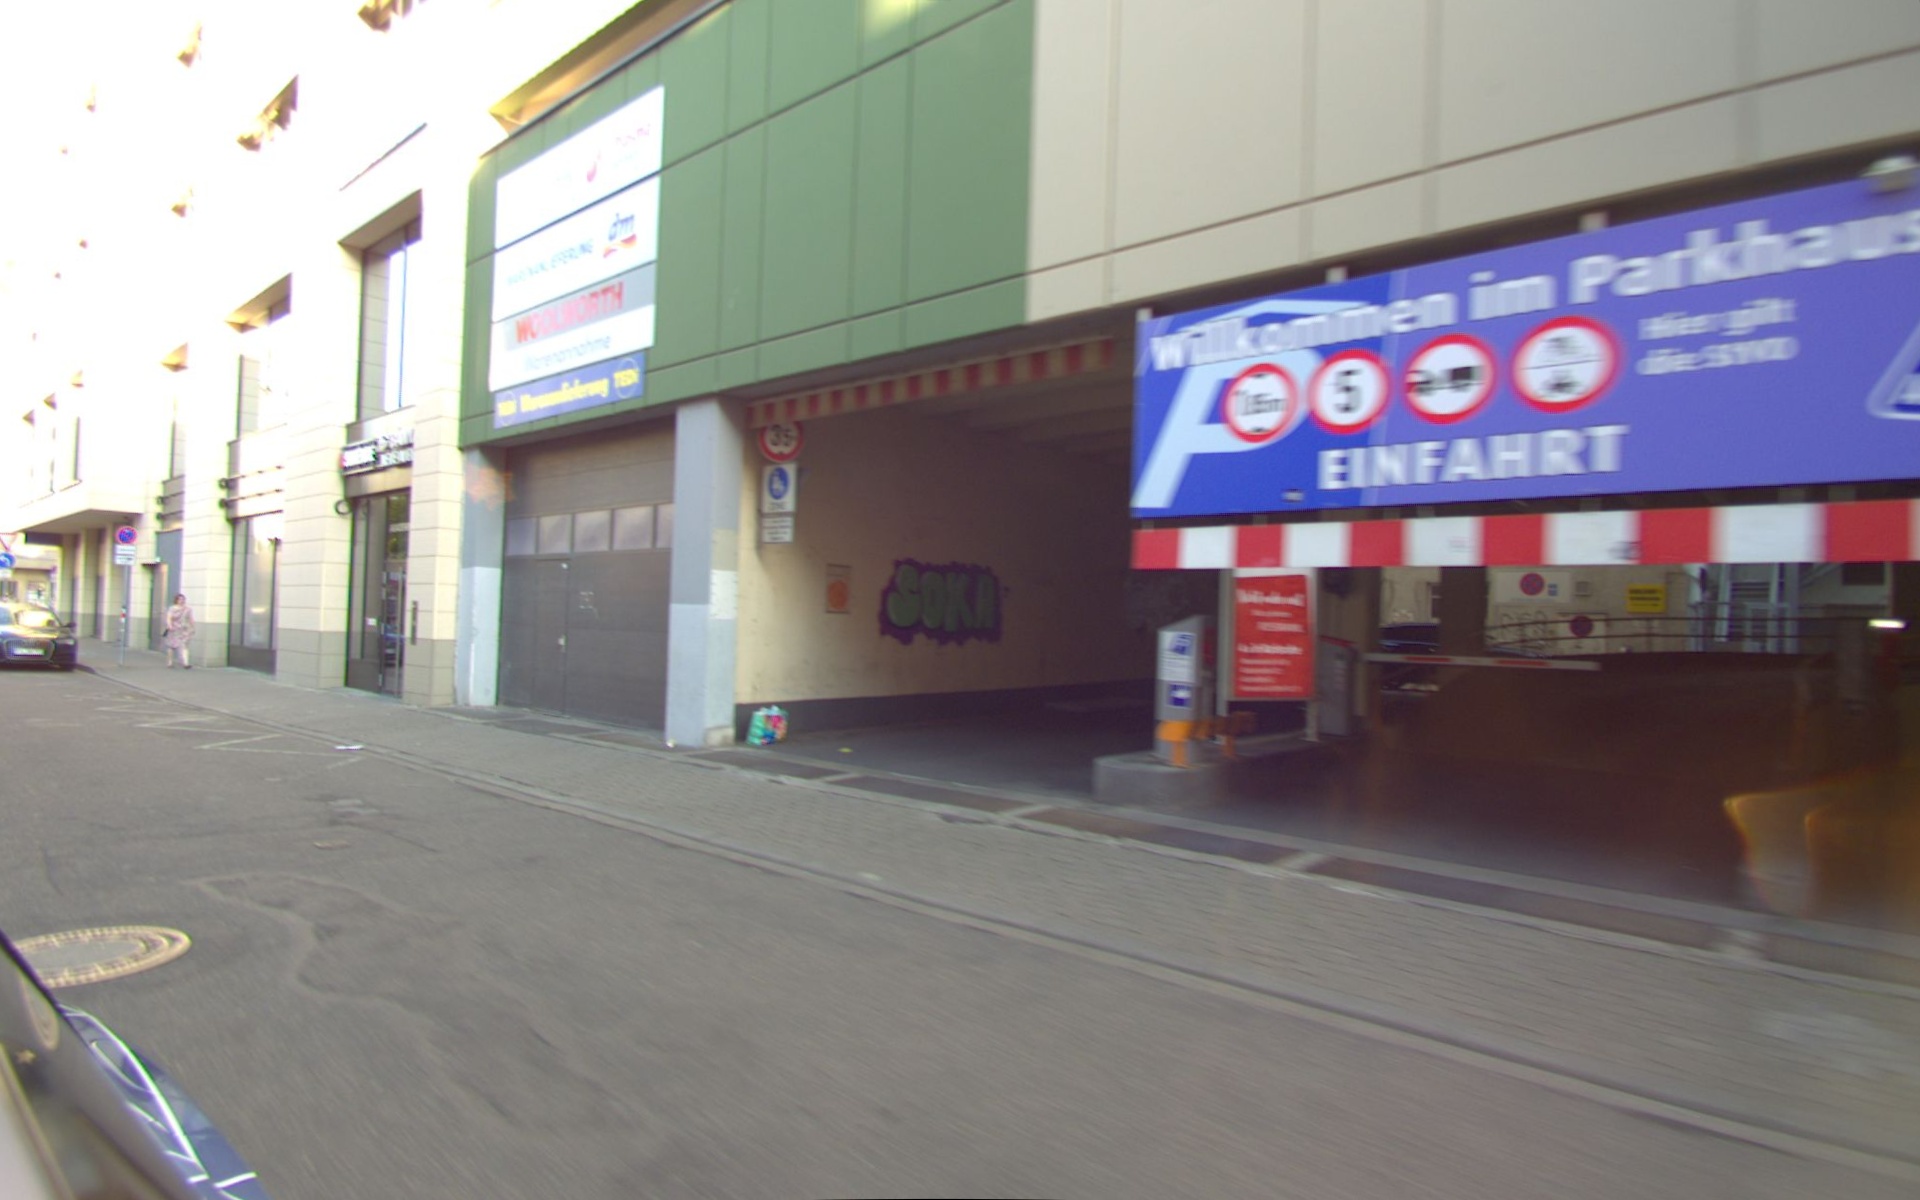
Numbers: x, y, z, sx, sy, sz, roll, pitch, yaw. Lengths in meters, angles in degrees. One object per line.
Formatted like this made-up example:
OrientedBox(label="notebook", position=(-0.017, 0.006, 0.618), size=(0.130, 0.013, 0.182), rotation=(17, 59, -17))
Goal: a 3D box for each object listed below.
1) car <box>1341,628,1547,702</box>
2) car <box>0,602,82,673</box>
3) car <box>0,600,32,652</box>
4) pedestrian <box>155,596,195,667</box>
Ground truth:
OrientedBox(label="car", position=(11.521, 1.492, 24.263), size=(4.204, 1.480, 1.610), rotation=(1, 0, 41))
OrientedBox(label="car", position=(-21.802, 0.808, 23.256), size=(4.560, 1.428, 1.971), rotation=(1, -3, 44))
OrientedBox(label="car", position=(-28.628, 0.708, 29.401), size=(3.623, 1.459, 1.796), rotation=(0, -1, 37))
OrientedBox(label="pedestrian", position=(-18.558, 0.743, 23.913), size=(0.565, 1.638, 0.612), rotation=(0, -2, 41))
